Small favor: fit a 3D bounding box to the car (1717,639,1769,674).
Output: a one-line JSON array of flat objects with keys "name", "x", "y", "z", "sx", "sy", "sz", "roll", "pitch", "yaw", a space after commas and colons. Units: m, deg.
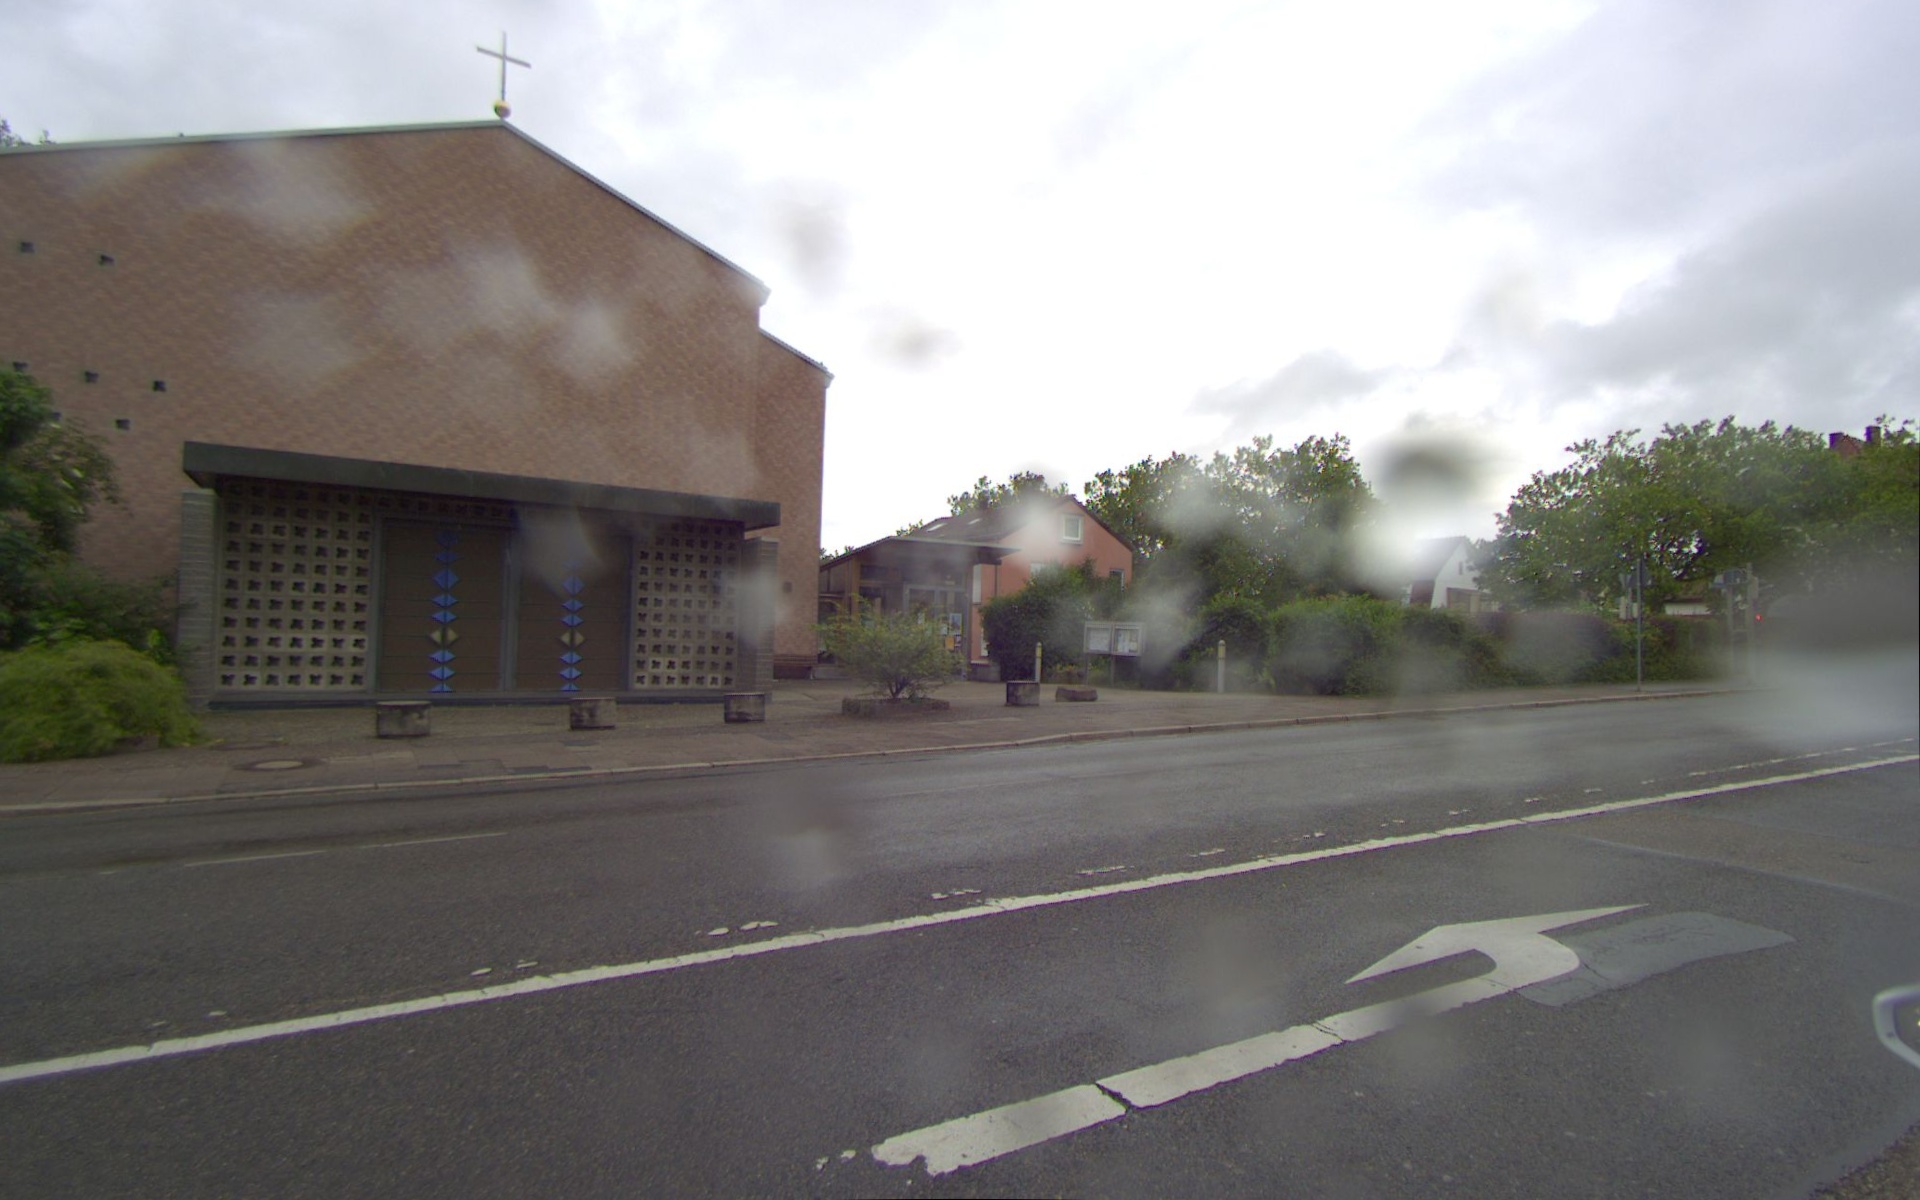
[{"name": "car", "x": 38.602, "y": 2.732, "z": 49.524, "sx": 1.969, "sy": 1.572, "sz": 3.983, "roll": 0, "pitch": -1, "yaw": 38}]
